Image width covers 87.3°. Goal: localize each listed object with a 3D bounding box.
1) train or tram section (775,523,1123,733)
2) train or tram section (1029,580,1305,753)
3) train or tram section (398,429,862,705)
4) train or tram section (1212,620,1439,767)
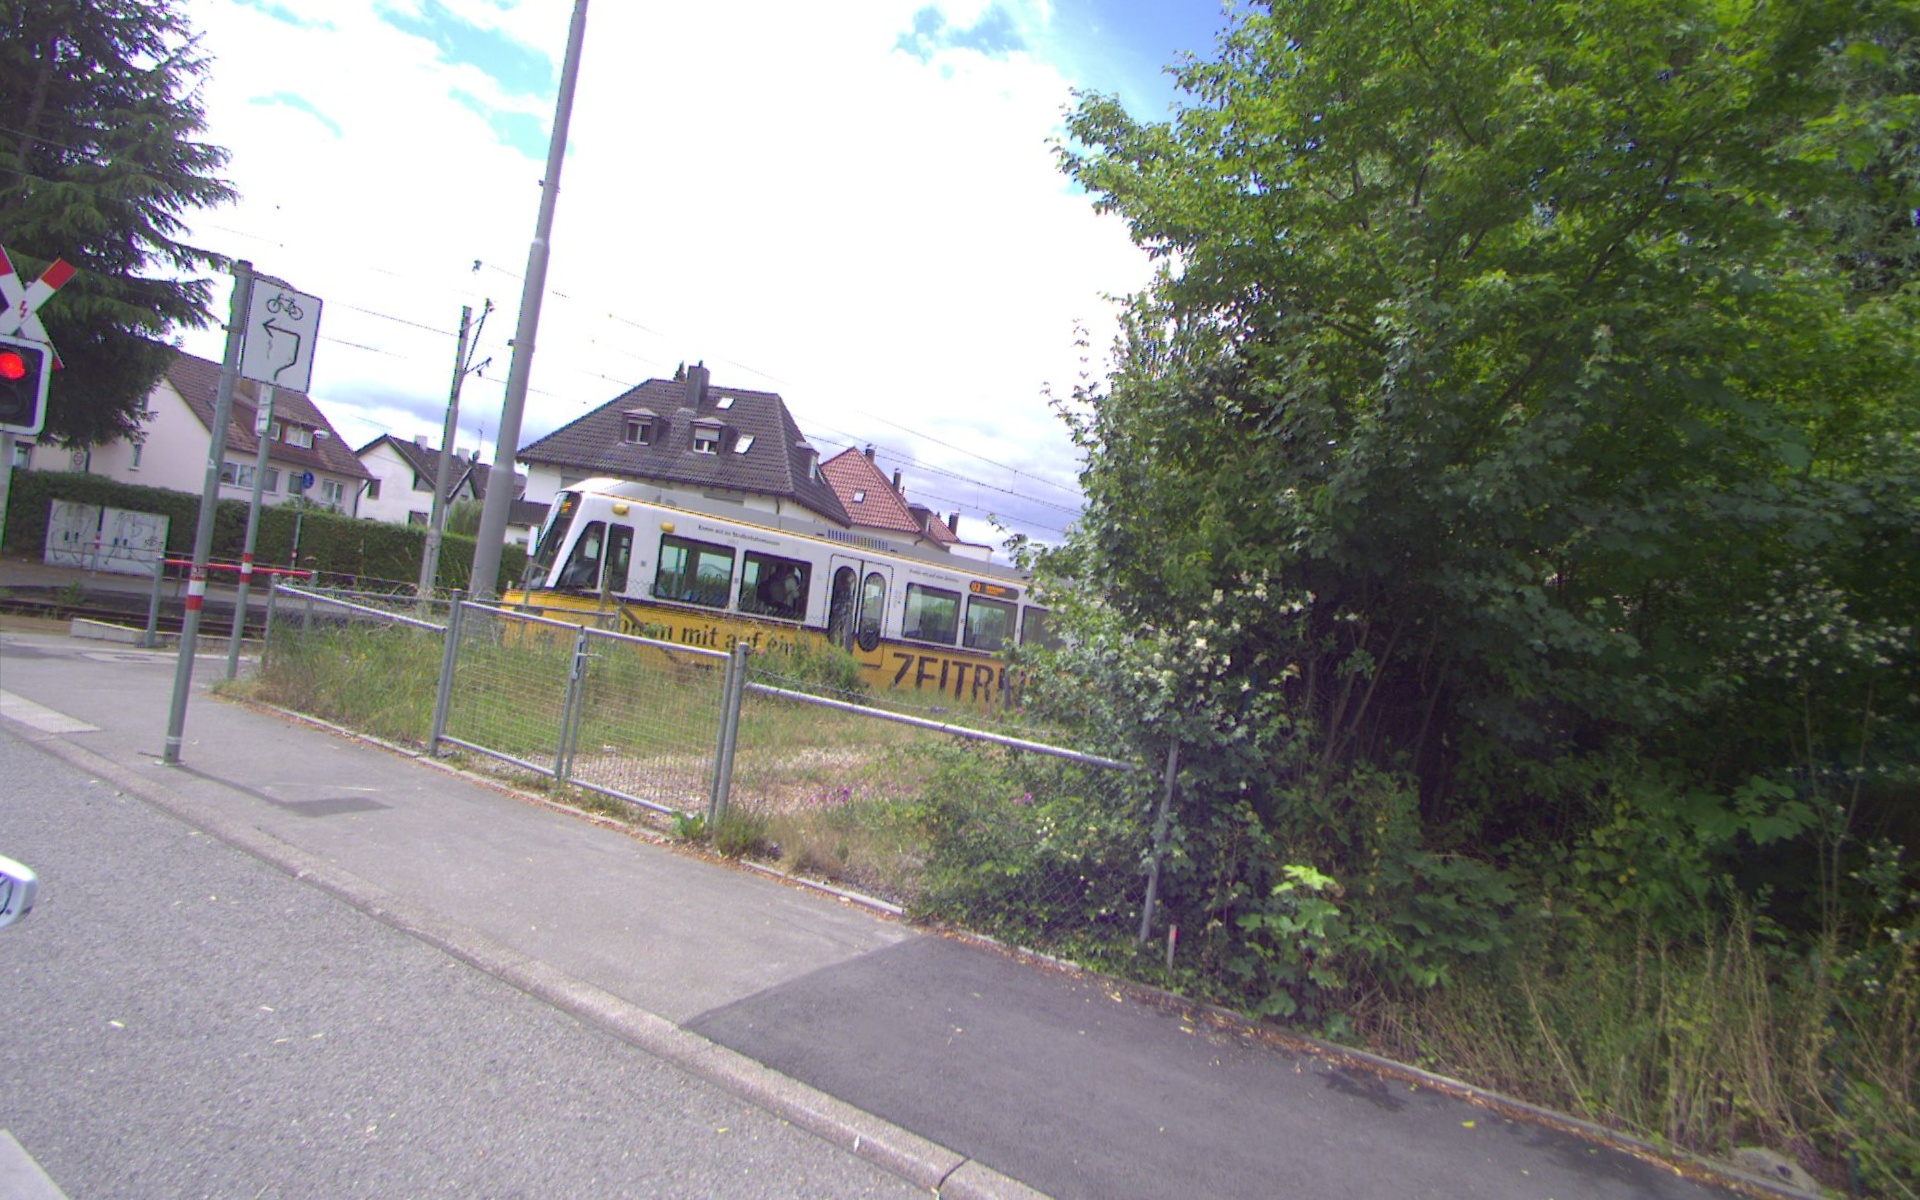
[{"bbox_3d":[-0.065,0.799,23.895,7.655,3.762,2.842,10,-3,-36],"label":"train or tram section"},{"bbox_3d":[5.989,1.965,28.369,7.655,3.762,2.842,10,-3,-36],"label":"train or tram section"},{"bbox_3d":[-6.119,-0.356,19.436,7.655,3.762,2.842,10,-3,-36],"label":"train or tram section"},{"bbox_3d":[12.068,3.119,32.880,7.655,3.762,2.842,10,-3,-36],"label":"train or tram section"}]
